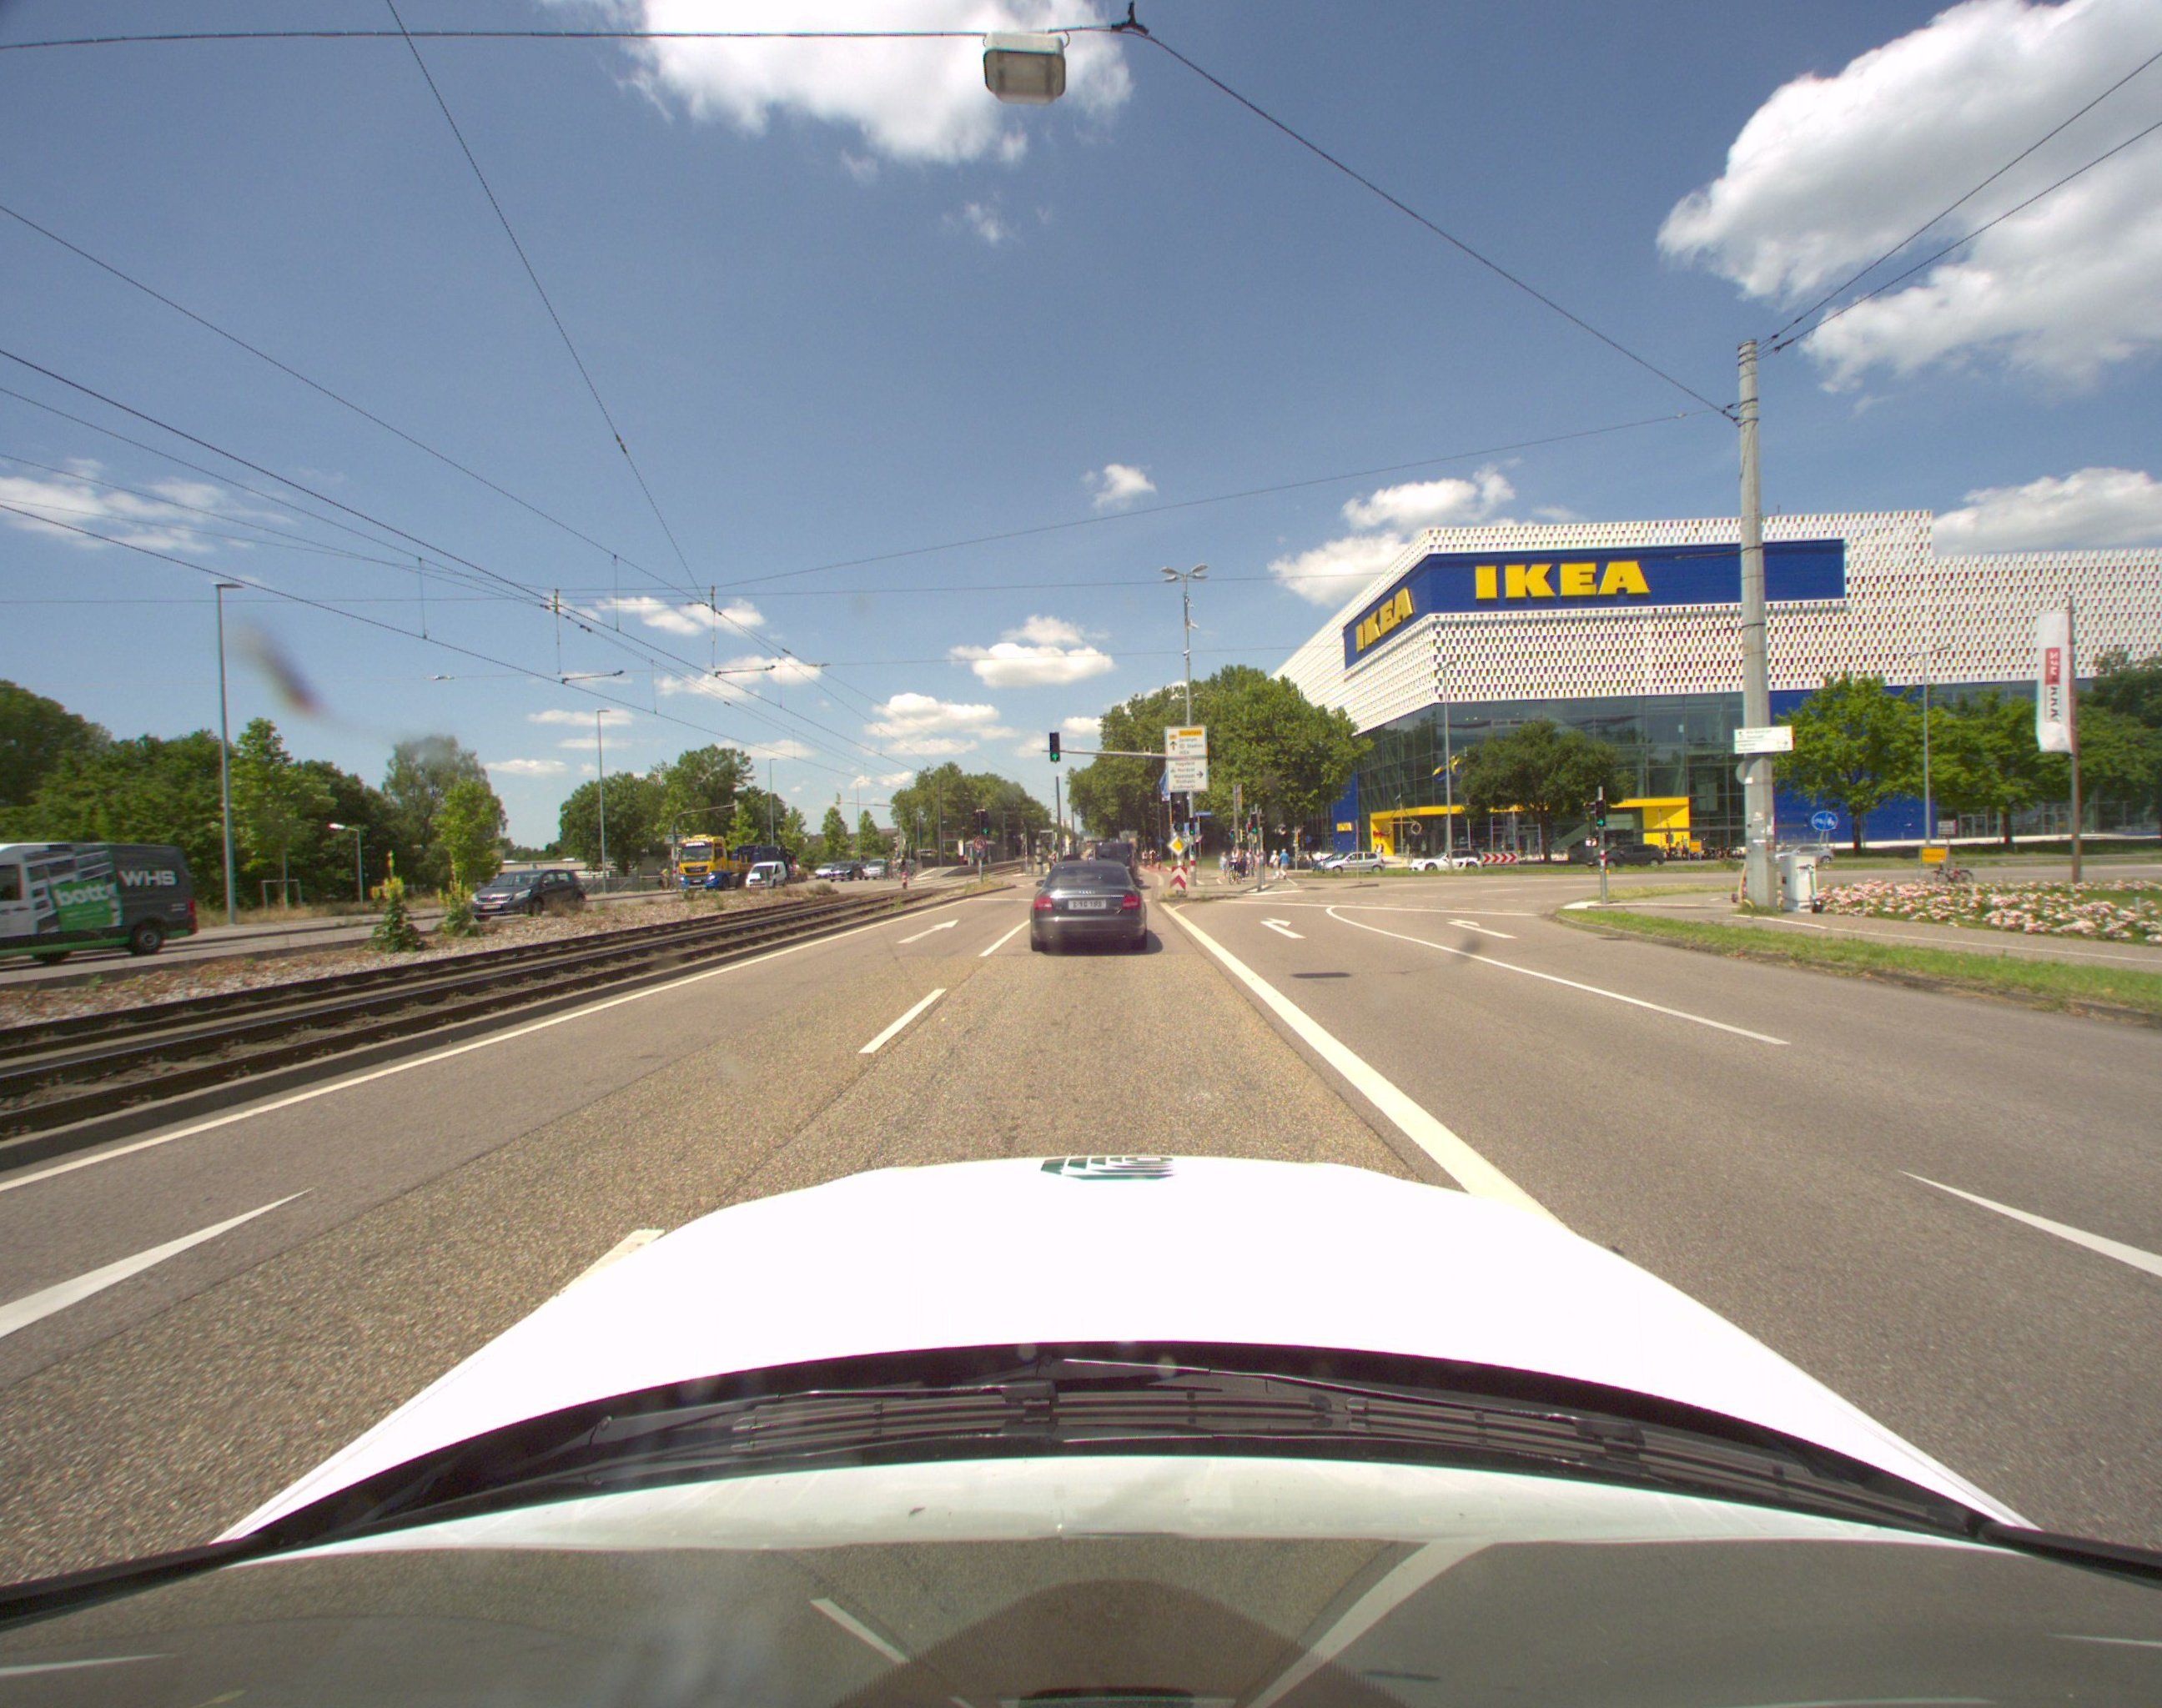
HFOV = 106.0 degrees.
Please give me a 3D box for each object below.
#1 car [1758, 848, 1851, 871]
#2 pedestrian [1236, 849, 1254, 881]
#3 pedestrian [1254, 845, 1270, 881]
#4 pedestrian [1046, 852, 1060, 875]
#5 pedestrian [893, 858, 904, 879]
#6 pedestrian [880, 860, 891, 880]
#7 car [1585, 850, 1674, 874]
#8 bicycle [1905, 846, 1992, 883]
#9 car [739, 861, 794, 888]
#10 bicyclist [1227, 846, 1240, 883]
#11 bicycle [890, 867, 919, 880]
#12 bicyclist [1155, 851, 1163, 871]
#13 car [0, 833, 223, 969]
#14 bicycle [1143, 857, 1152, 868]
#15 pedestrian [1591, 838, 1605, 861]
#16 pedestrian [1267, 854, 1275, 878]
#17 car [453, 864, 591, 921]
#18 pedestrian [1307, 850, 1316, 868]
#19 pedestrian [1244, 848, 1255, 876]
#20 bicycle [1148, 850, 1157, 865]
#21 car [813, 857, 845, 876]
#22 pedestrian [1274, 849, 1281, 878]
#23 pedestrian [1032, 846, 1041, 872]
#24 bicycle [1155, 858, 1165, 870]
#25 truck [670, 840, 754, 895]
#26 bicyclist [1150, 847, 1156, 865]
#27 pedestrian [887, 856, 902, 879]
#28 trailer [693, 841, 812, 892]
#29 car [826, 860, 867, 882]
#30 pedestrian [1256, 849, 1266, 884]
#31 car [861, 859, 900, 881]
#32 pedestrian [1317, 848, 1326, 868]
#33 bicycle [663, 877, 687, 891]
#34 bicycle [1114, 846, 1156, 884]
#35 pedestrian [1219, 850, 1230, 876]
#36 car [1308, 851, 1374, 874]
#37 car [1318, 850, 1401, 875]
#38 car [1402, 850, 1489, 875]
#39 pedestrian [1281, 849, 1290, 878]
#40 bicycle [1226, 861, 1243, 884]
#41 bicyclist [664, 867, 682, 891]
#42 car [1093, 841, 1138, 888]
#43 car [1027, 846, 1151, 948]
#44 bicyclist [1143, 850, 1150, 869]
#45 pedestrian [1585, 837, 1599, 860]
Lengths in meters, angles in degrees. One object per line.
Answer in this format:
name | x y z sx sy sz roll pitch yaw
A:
car | 49.656 0.371 55.961 4.476 1.486 2.003 0 0 4
pedestrian | 8.691 0.574 43.144 0.706 1.635 0.711 -1 0 27
pedestrian | 9.529 0.466 42.868 0.678 1.846 0.711 -1 0 27
pedestrian | -1.961 0.677 57.460 0.733 1.555 0.612 -1 0 38
pedestrian | -13.700 1.104 61.001 0.683 1.564 0.572 -1 -1 -2
pedestrian | -14.375 1.163 59.898 0.683 1.443 0.572 -1 -1 -2
car | 35.802 0.523 53.264 4.476 1.486 2.003 0 0 4
bicycle | 36.054 0.438 33.871 2.411 1.481 0.990 -1 0 5
car | -21.205 1.351 55.143 1.815 1.670 4.464 0 0 3
bicyclist | 7.347 0.507 39.180 0.525 1.764 0.830 -1 -1 15
bicycle | -12.782 1.426 59.008 2.055 0.925 0.751 -1 0 -9
bicyclist | 6.824 0.595 71.328 0.527 1.676 1.088 -1 0 2
car | -21.929 0.960 16.742 2.240 2.588 6.221 -4 1 -6
bicycle | 6.290 0.793 77.517 0.685 0.993 2.753 -1 0 2
pedestrian | 45.236 -0.376 71.245 0.707 2.013 0.825 -1 0 3
pedestrian | 10.608 0.682 45.558 0.371 1.304 0.365 -1 0 4
car | -18.426 1.206 27.124 1.819 1.670 4.453 0 0 -5
pedestrian | 19.405 0.429 68.597 0.698 1.544 0.681 -1 0 20
pedestrian | 9.895 0.476 47.840 0.551 1.635 0.433 -1 0 4
bicycle | 7.169 0.341 81.901 0.685 1.519 2.753 -1 0 2
car | -24.973 1.187 80.959 1.795 1.818 4.002 -1 0 2
pedestrian | 10.988 0.523 45.518 0.319 1.635 0.377 -1 0 4
pedestrian | -3.477 0.406 64.009 0.683 2.014 0.572 -1 -1 -3
bicycle | 6.890 0.897 71.373 0.685 1.006 2.753 -1 0 2
truck | -25.744 0.882 57.178 2.757 3.569 6.441 -1 0 1
bicyclist | 7.162 0.199 81.166 0.527 1.789 1.088 -1 0 1
pedestrian | -14.274 1.008 62.437 0.816 1.720 0.779 -1 0 23
trailer | -25.580 0.883 64.869 2.757 3.518 15.881 -1 0 1
car | -19.074 1.390 66.443 1.814 1.670 4.466 0 0 4
pedestrian | 8.341 0.570 37.766 0.380 1.635 0.377 -1 0 4
car | -16.398 1.278 66.901 1.814 1.670 4.466 0 0 4
pedestrian | 20.129 0.347 68.205 0.698 1.635 0.615 -1 0 20
bicycle | -29.537 2.188 59.299 1.487 0.987 0.485 -1 0 -3
bicycle | 3.015 0.567 45.089 1.982 2.013 4.009 -1 0 8
pedestrian | 8.347 0.535 47.373 0.490 1.520 0.710 -1 0 19
car | 17.065 0.535 53.539 3.771 1.486 2.003 0 0 4
car | 17.134 0.486 50.286 4.476 1.486 2.003 0 0 4
car | 22.459 0.481 50.296 4.476 1.486 2.003 0 0 4
pedestrian | 11.432 0.527 45.495 0.396 1.635 0.371 -1 0 4
bicycle | 7.382 0.887 39.201 0.654 1.022 1.869 -1 0 15
bicyclist | -29.706 1.811 59.332 1.116 1.774 0.340 -1 0 -4
car | 1.478 0.443 35.752 1.830 1.950 4.001 -1 0 1
car | 0.175 0.622 13.961 1.786 1.455 4.001 -1 0 1
bicyclist | 6.234 0.479 77.657 0.527 1.789 1.088 -1 0 2
pedestrian | 45.378 -0.522 72.300 0.707 2.013 0.825 -1 0 3
